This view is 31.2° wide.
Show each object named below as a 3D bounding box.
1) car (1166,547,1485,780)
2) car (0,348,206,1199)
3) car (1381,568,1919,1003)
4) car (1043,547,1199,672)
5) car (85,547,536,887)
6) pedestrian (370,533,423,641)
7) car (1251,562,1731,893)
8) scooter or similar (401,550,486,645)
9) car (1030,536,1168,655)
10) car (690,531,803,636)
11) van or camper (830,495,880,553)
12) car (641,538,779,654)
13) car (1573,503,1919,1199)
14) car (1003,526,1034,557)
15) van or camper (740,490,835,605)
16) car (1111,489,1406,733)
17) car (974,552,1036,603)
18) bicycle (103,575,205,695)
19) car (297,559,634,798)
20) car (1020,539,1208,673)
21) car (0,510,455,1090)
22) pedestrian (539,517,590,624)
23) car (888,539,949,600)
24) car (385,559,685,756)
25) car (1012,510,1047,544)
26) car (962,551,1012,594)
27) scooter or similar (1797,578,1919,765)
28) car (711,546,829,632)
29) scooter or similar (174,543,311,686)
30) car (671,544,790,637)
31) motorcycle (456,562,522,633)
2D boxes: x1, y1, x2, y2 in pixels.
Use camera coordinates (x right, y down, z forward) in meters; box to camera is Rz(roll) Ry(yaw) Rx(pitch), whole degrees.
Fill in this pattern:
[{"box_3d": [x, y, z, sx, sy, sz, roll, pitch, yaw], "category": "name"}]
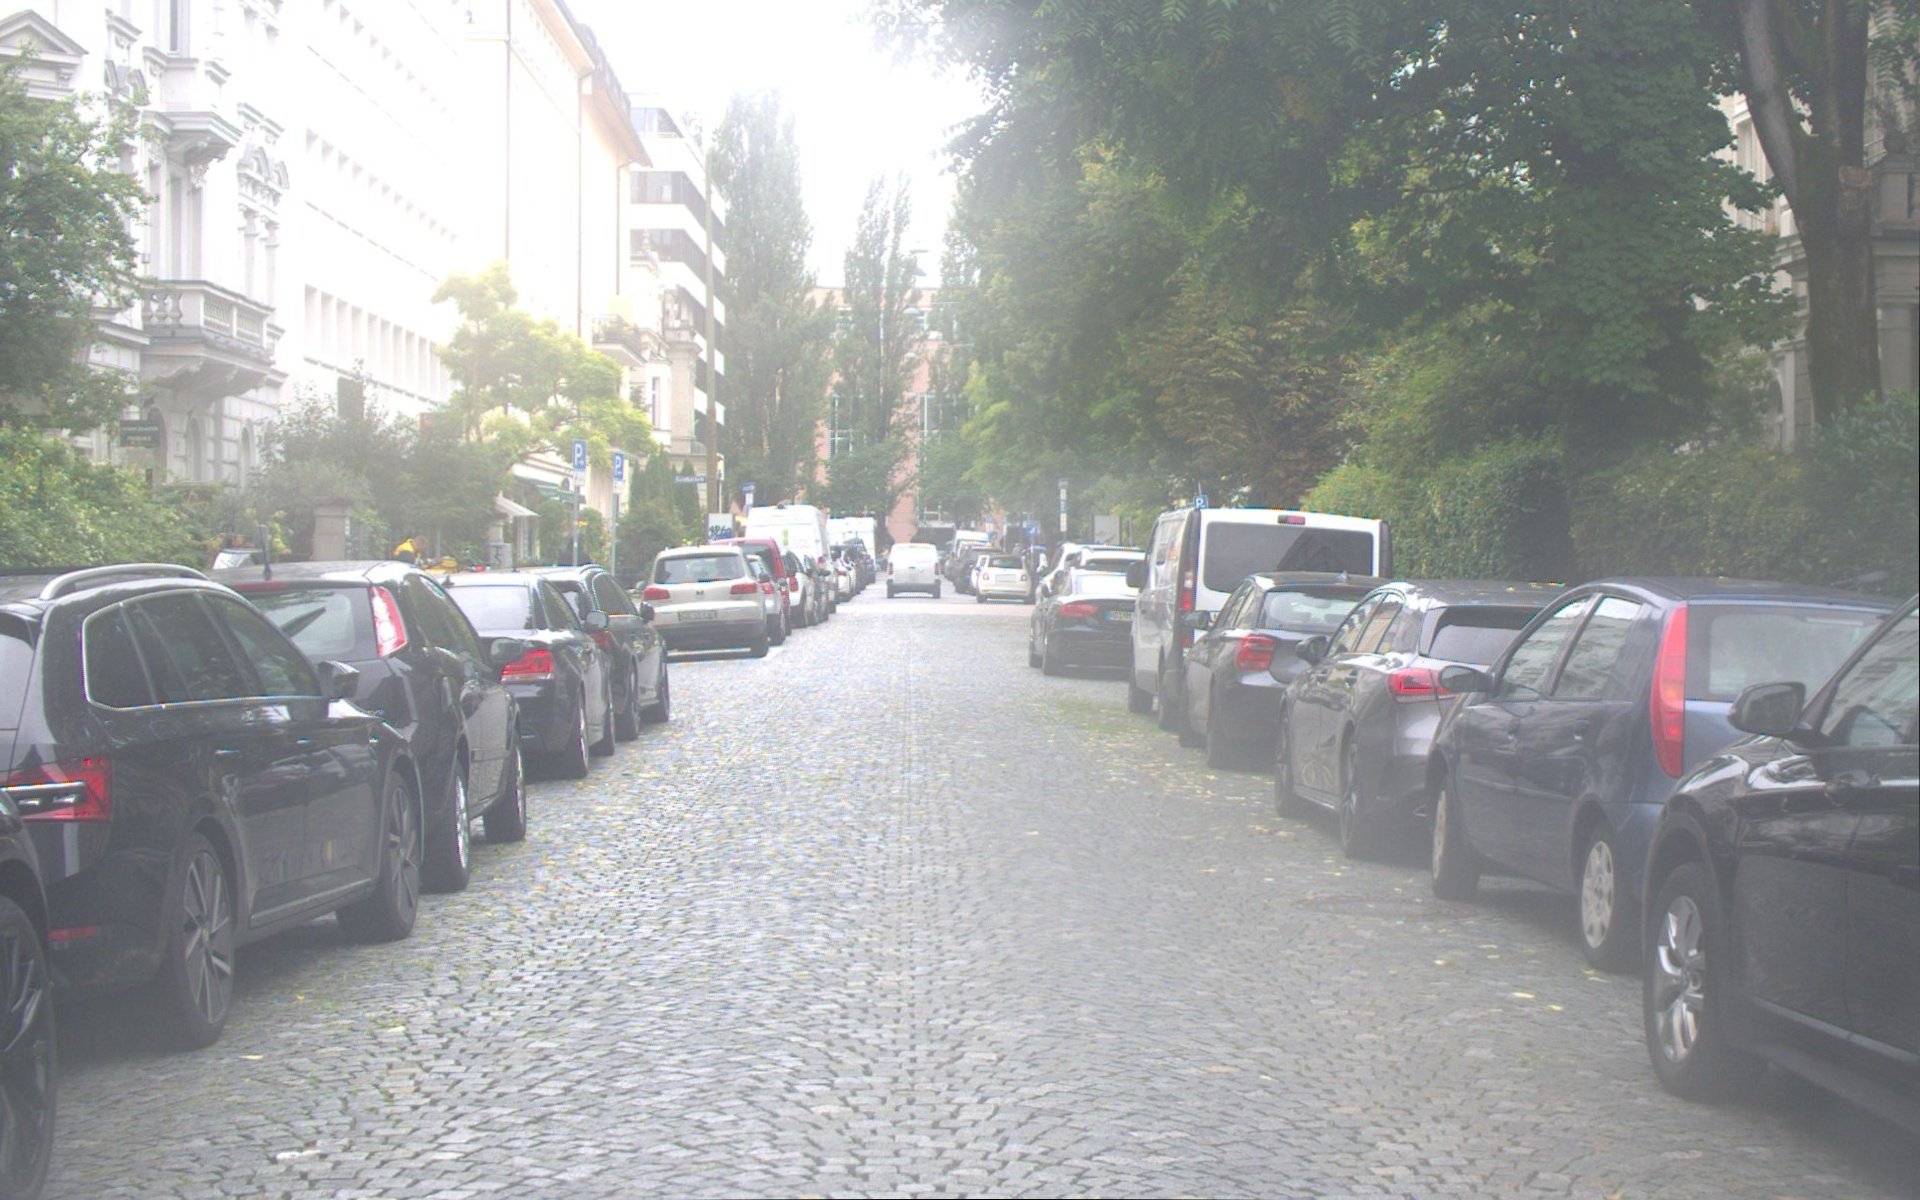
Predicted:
[{"box_3d": [2.609, 0.403, 25.521, 1.837, 1.485, 4.421, 3, 1, 0], "category": "car"}, {"box_3d": [-2.915, 0.495, 6.236, 1.993, 1.910, 5.178, -3, 1, -1], "category": "car"}, {"box_3d": [3.016, 0.648, 14.039, 1.693, 1.435, 4.062, 3, 1, -5], "category": "car"}, {"box_3d": [2.216, 0.104, 48.446, 1.817, 1.574, 4.208, 4, 1, -1], "category": "car"}, {"box_3d": [-3.041, 0.472, 16.844, 1.662, 1.439, 4.172, -1, 1, -4], "category": "car"}, {"box_3d": [-8.838, -0.212, 53.920, 0.717, 1.682, 0.695, 1, 1, -1], "category": "pedestrian"}, {"box_3d": [2.696, 0.582, 18.423, 1.713, 1.467, 4.269, 3, 1, -2], "category": "car"}, {"box_3d": [-8.003, -0.059, 53.340, 0.941, 1.437, 2.657, 1, 1, -1], "category": "scooter or similar"}, {"box_3d": [2.173, -0.101, 55.010, 1.873, 1.727, 4.593, 3, 1, -1], "category": "car"}, {"box_3d": [-3.905, -0.328, 63.404, 1.873, 1.770, 4.123, -3, 1, -2], "category": "car"}, {"box_3d": [-5.130, -3.689, 168.223, 2.256, 2.733, 5.098, 1, 1, -1], "category": "van or camper"}, {"box_3d": [-3.669, -0.091, 51.037, 1.873, 1.574, 4.256, -2, 1, -3], "category": "car"}, {"box_3d": [2.919, 0.658, 8.426, 1.873, 1.664, 4.657, 3, 1, -1], "category": "car"}, {"box_3d": [3.929, -3.942, 232.234, 1.993, 2.007, 4.000, 1, 0, 0], "category": "car"}, {"box_3d": [-4.172, -1.274, 83.682, 1.993, 2.643, 4.000, -2, 1, 0], "category": "van or camper"}, {"box_3d": [2.581, 0.054, 31.011, 1.873, 1.922, 5.165, 3, 1, -3], "category": "car"}, {"box_3d": [1.352, -0.703, 104.792, 1.790, 1.515, 4.000, 1, 1, 0], "category": "car"}, {"box_3d": [-7.933, 0.328, 33.896, 0.576, 1.118, 2.051, 1, 1, -2], "category": "bicycle"}, {"box_3d": [-3.344, 0.469, 24.020, 1.783, 1.412, 4.497, -3, 1, -2], "category": "car"}, {"box_3d": [1.876, 0.033, 43.196, 1.873, 1.498, 4.512, 3, 1, -3], "category": "car"}, {"box_3d": [-3.119, 0.518, 11.786, 1.978, 1.556, 5.017, -1, 1, 0], "category": "car"}, {"box_3d": [-7.176, -0.534, 62.429, 0.792, 1.911, 0.759, 2, 1, -1], "category": "pedestrian"}, {"box_3d": [-1.385, -1.050, 115.835, 1.993, 2.007, 4.000, 1, 1, 0], "category": "car"}, {"box_3d": [-3.462, 0.419, 28.779, 1.887, 1.412, 4.407, -3, 1, 0], "category": "car"}, {"box_3d": [4.199, -4.401, 207.663, 1.993, 2.007, 4.000, 1, 0, 0], "category": "car"}, {"box_3d": [0.976, -1.017, 125.408, 1.790, 1.515, 4.000, 1, 1, 0], "category": "car"}, {"box_3d": [6.287, 0.475, 23.768, 0.414, 1.230, 1.246, -3, 1, -12], "category": "scooter or similar"}, {"box_3d": [-3.768, -0.239, 68.738, 1.873, 1.574, 4.208, 3, 1, 3], "category": "car"}, {"box_3d": [-7.608, 0.130, 36.589, 0.941, 1.437, 2.657, 2, 1, -2], "category": "scooter or similar"}, {"box_3d": [-3.771, -0.187, 57.055, 1.873, 1.446, 4.208, -1, 1, -3], "category": "car"}, {"box_3d": [-8.062, -0.055, 58.936, 0.623, 1.192, 1.864, 1, 1, 8], "category": "motorcycle"}]
